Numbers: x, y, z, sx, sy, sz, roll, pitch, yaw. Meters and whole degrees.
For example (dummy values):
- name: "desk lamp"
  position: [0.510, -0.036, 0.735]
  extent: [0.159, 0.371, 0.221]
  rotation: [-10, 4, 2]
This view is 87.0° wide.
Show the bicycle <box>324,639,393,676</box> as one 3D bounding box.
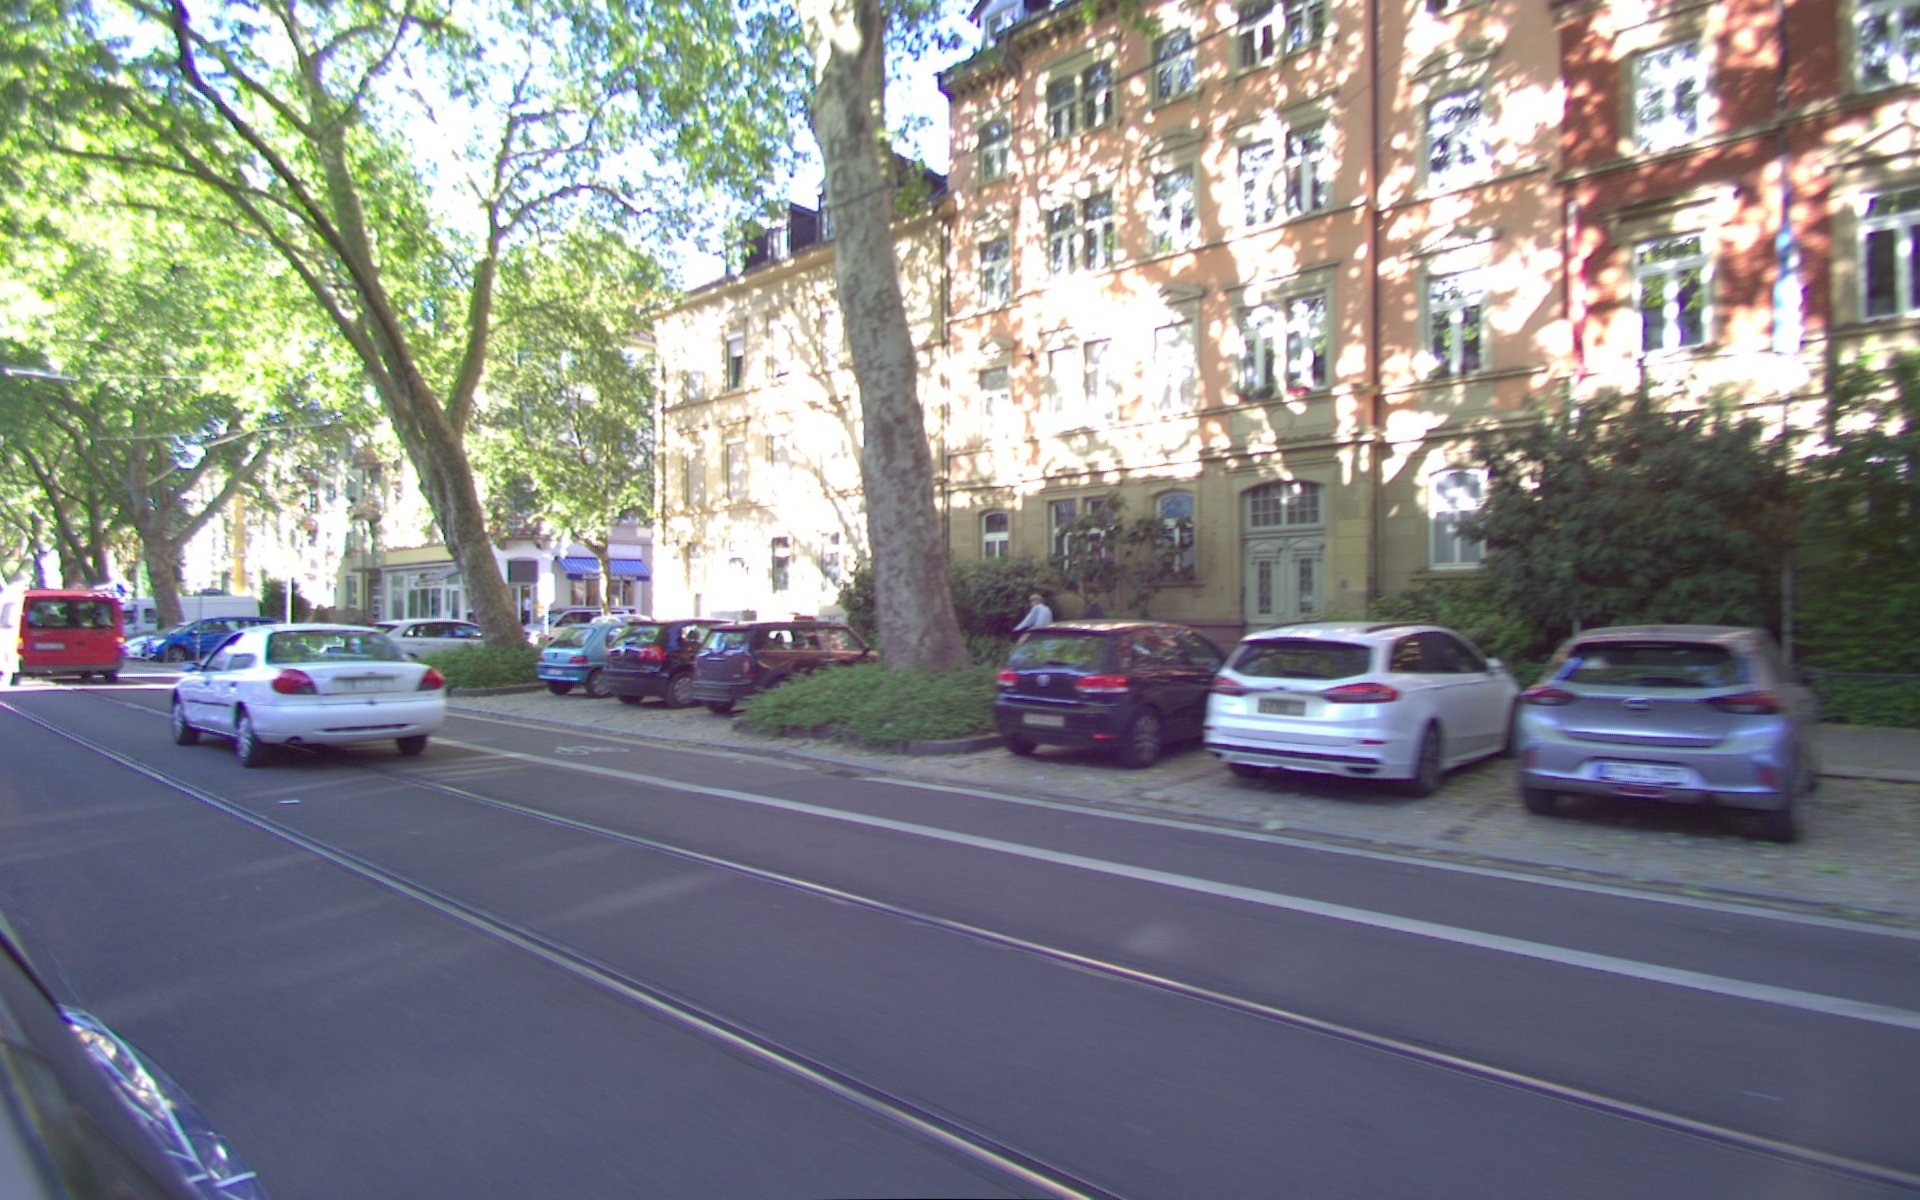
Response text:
- name: "bicycle"
  position: [-18.740, 1.772, 31.566]
  extent: [1.830, 1.096, 0.397]
  rotation: [0, -1, -31]

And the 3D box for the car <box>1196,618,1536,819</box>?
- name: "car"
  position: [4.061, 0.938, 9.764]
  extent: [1.830, 1.507, 3.945]
  rotation: [-1, -1, 42]

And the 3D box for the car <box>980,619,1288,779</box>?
- name: "car"
  position: [2.088, 0.960, 11.407]
  extent: [1.704, 1.471, 3.753]
  rotation: [-1, -1, 42]

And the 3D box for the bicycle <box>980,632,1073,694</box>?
- name: "bicycle"
  position: [1.303, 1.229, 20.079]
  extent: [1.779, 1.147, 0.734]
  rotation: [-1, -1, 41]

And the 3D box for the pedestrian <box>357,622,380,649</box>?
- name: "pedestrian"
  position: [-27.381, 1.645, 46.834]
  extent: [0.930, 1.250, 0.699]
  rotation: [-1, -2, 43]

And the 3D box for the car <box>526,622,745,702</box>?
- name: "car"
  position: [-6.266, 1.142, 19.938]
  extent: [1.602, 1.379, 3.952]
  rotation: [-1, -1, 35]

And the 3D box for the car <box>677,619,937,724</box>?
- name: "car"
  position: [-2.349, 1.046, 16.271]
  extent: [1.704, 1.471, 3.943]
  rotation: [-1, -1, 43]

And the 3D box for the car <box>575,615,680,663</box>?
- name: "car"
  position: [-10.752, 1.222, 32.625]
  extent: [3.485, 1.471, 1.583]
  rotation: [-1, -1, 39]

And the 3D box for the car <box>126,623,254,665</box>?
- name: "car"
  position: [-30.429, 1.695, 40.072]
  extent: [1.745, 1.529, 3.733]
  rotation: [-1, -1, 38]

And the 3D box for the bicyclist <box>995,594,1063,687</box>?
- name: "bicyclist"
  position: [1.367, 0.793, 20.016]
  extent: [1.048, 1.776, 0.822]
  rotation: [-1, -1, 41]

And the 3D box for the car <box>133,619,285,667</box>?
- name: "car"
  position: [-28.346, 1.571, 38.317]
  extent: [1.814, 1.725, 4.278]
  rotation: [-1, -1, 38]

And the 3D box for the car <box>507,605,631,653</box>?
- name: "car"
  position: [-16.830, 1.196, 43.678]
  extent: [4.519, 1.894, 2.131]
  rotation: [1, 1, -44]

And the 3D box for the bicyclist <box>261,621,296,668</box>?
- name: "bicyclist"
  position: [-22.811, 1.483, 33.877]
  extent: [0.855, 1.538, 0.737]
  rotation: [1, -2, -42]

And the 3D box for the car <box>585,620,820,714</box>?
- name: "car"
  position: [-4.452, 1.091, 18.051]
  extent: [1.764, 1.471, 3.957]
  rotation: [-1, -1, 32]

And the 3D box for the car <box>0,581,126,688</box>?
- name: "car"
  position: [-21.351, 0.802, 23.606]
  extent: [4.955, 2.244, 1.898]
  rotation: [-1, -4, 39]

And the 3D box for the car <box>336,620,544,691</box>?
- name: "car"
  position: [-12.083, 1.233, 23.712]
  extent: [1.878, 1.471, 3.946]
  rotation: [-1, -1, 40]

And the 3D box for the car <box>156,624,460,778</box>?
- name: "car"
  position: [-7.371, 0.959, 11.243]
  extent: [4.468, 1.369, 1.700]
  rotation: [-1, -1, 42]

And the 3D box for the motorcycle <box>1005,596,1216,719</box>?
- name: "motorcycle"
  position: [2.169, 0.780, 15.001]
  extent: [3.010, 1.643, 1.041]
  rotation: [0, 1, 41]

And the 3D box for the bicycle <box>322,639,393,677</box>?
- name: "bicycle"
  position: [-18.183, 1.737, 30.564]
  extent: [1.830, 1.096, 0.397]
  rotation: [0, -1, -31]

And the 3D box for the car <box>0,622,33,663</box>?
- name: "car"
  position: [-36.710, 1.585, 38.518]
  extent: [3.689, 1.521, 1.618]
  rotation: [-1, -3, 41]

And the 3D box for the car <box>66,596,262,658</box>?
- name: "car"
  position: [-35.070, 1.144, 44.811]
  extent: [1.999, 2.426, 6.533]
  rotation: [-2, 0, 41]

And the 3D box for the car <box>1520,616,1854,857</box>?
- name: "car"
  position: [5.966, 0.867, 8.127]
  extent: [1.704, 1.443, 3.767]
  rotation: [-1, -1, 43]

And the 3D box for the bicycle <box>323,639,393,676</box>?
- name: "bicycle"
  position: [-18.526, 1.765, 31.177]
  extent: [1.830, 1.096, 0.397]
  rotation: [0, -1, -31]

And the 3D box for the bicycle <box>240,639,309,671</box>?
- name: "bicycle"
  position: [-22.886, 1.824, 33.822]
  extent: [1.847, 1.039, 0.629]
  rotation: [1, -2, -42]

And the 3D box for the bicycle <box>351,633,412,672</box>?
- name: "bicycle"
  position: [-17.003, 1.522, 29.741]
  extent: [1.536, 1.096, 0.397]
  rotation: [0, -1, -31]
